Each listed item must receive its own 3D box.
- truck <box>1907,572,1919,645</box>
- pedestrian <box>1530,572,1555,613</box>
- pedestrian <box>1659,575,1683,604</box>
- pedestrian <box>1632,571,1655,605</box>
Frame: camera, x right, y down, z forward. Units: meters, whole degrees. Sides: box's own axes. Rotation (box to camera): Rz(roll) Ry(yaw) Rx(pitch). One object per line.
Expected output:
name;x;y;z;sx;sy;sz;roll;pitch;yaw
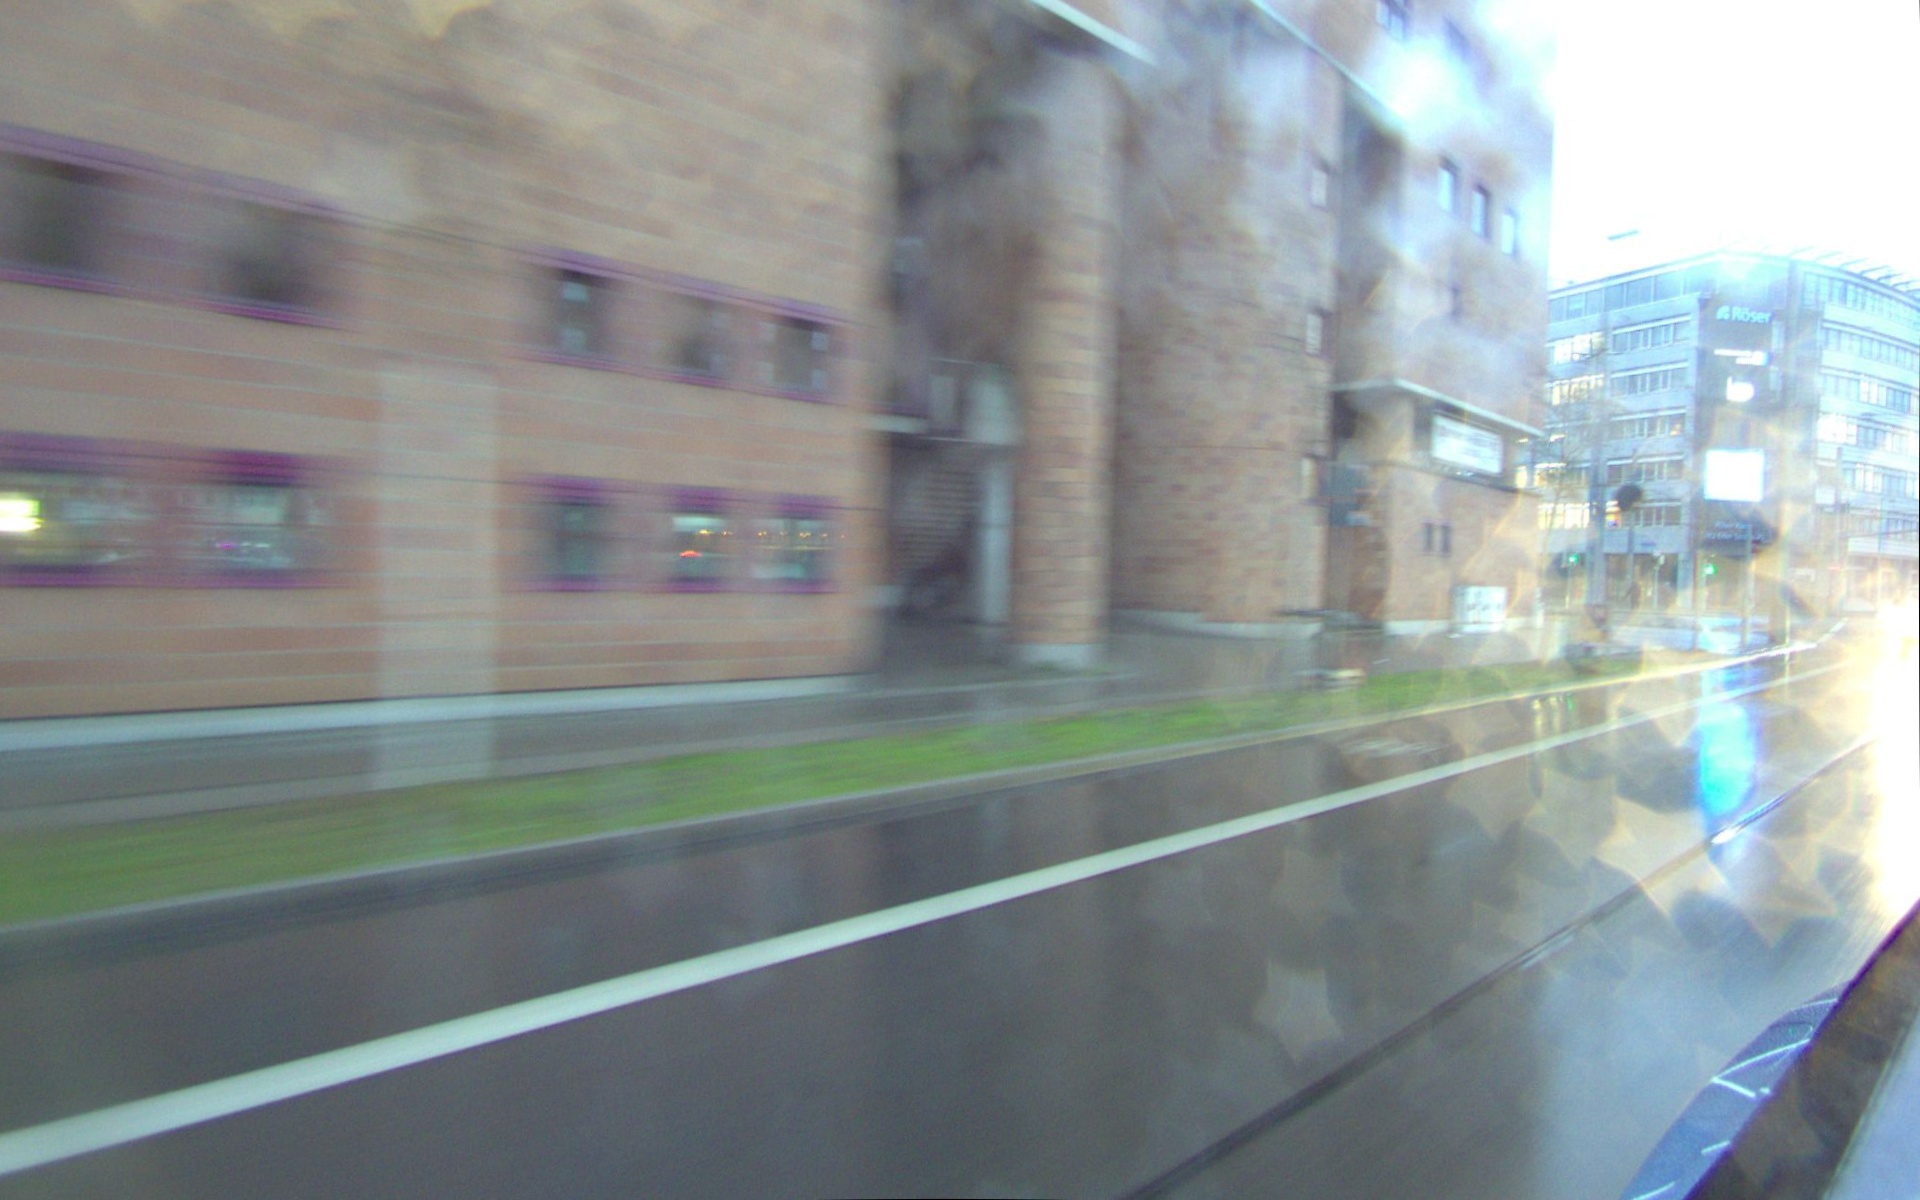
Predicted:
truck;27.567;0.240;27.717;4.536;1.941;1.908;0;0;-41
pedestrian;26.314;-0.333;45.705;0.722;1.809;0.734;0;2;-43
pedestrian;46.056;-0.674;65.565;1.148;1.809;0.766;3;2;41
pedestrian;37.961;-0.691;56.218;0.789;1.833;0.647;2;2;17
